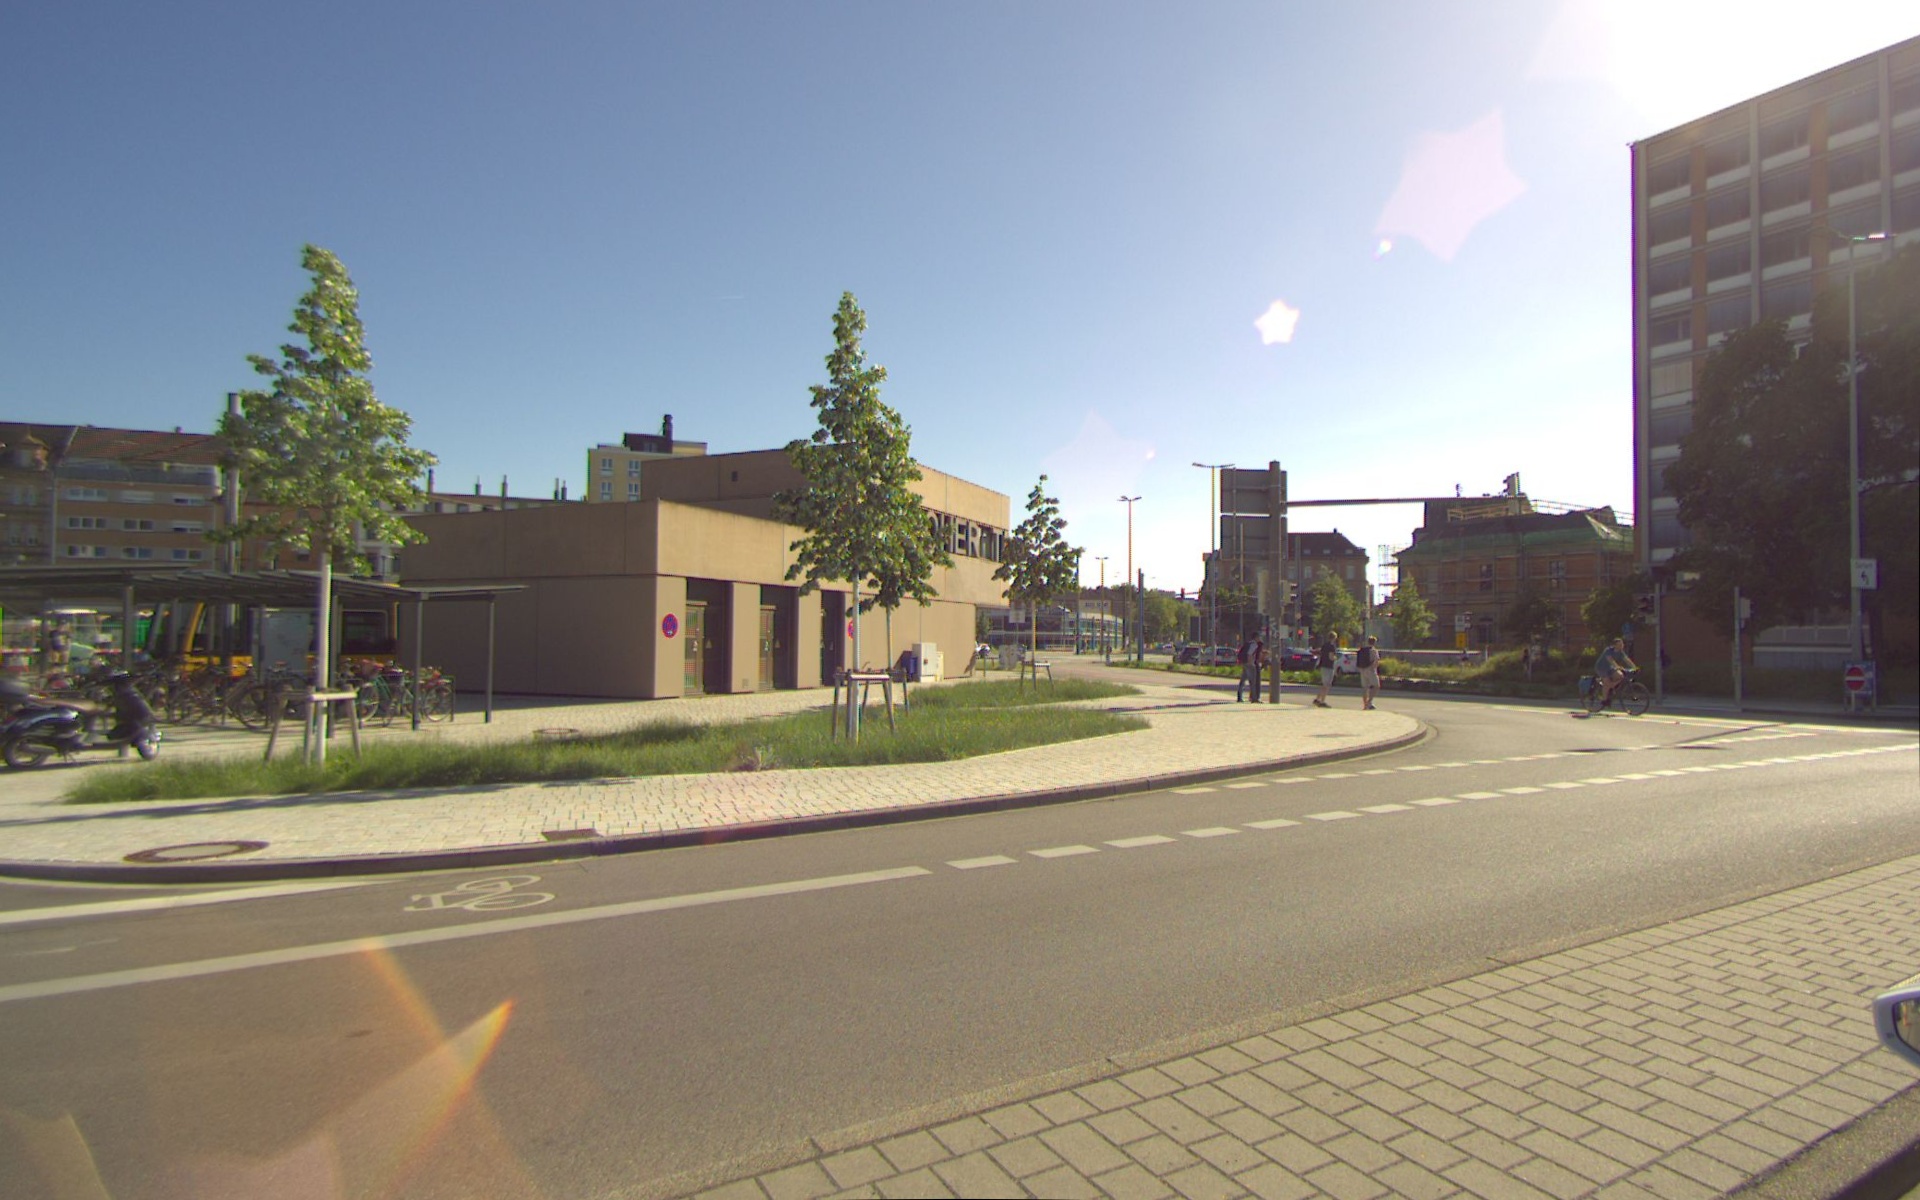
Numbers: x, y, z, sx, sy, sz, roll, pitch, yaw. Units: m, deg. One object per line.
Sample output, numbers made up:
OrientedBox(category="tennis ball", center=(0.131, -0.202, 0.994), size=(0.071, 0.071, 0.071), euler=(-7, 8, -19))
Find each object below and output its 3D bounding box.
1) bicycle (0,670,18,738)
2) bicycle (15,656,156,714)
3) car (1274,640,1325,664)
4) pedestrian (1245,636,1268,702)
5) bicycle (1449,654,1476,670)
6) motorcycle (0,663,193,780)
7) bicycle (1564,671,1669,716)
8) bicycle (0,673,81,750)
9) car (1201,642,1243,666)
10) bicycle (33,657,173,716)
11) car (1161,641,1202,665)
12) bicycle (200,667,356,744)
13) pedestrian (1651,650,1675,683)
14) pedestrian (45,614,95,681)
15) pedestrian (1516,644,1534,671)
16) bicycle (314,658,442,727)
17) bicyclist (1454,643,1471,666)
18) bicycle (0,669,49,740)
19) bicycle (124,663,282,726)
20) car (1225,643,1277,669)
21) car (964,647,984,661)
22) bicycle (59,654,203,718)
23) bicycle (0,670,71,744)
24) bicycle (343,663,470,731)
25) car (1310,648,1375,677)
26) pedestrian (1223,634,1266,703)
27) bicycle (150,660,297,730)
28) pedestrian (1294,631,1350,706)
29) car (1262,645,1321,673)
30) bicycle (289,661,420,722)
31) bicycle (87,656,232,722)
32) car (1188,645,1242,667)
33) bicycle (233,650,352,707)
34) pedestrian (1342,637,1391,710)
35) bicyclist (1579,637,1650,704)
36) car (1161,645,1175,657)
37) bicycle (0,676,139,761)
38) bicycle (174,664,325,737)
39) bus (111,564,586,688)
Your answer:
OrientedBox(category="bicycle", center=(-14.706, 1.544, 14.426), size=(0.399, 0.985, 1.683), euler=(2, 0, 22))
OrientedBox(category="bicycle", center=(-17.760, 1.700, 20.457), size=(0.524, 1.051, 2.070), euler=(5, 0, 26))
OrientedBox(category="car", center=(25.596, 3.885, 75.910), size=(1.809, 1.653, 4.836), euler=(1, -2, -6))
OrientedBox(category="pedestrian", center=(7.986, 1.853, 27.055), size=(0.585, 1.751, 0.580), euler=(0, -2, 14))
OrientedBox(category="bicycle", center=(32.328, 3.981, 64.593), size=(0.587, 0.976, 2.082), euler=(1, -2, -3))
OrientedBox(category="motorcycle", center=(-10.837, 1.450, 12.477), size=(0.558, 1.235, 2.087), euler=(0, -1, 21))
OrientedBox(category="bicycle", center=(14.478, 2.039, 22.232), size=(0.676, 0.930, 1.985), euler=(1, -4, -15))
OrientedBox(category="bicycle", center=(-13.218, 1.546, 13.813), size=(0.399, 0.985, 1.683), euler=(2, 0, 22))
OrientedBox(category="car", center=(19.631, 4.039, 75.505), size=(1.809, 1.653, 4.386), euler=(1, -2, -4))
OrientedBox(category="bicycle", center=(-16.871, 1.680, 19.849), size=(0.524, 1.051, 2.070), euler=(-2, -2, 26))
OrientedBox(category="car", center=(16.534, 3.943, 75.125), size=(1.809, 1.653, 4.386), euler=(1, -2, -4))
OrientedBox(category="bicycle", center=(-10.891, 1.653, 16.134), size=(0.524, 1.051, 2.070), euler=(2, 0, 26))
OrientedBox(category="pedestrian", center=(34.909, 3.307, 49.885), size=(0.587, 1.624, 0.739), euler=(1, -2, -7))
OrientedBox(category="pedestrian", center=(-26.034, 1.378, 29.396), size=(0.755, 1.942, 0.803), euler=(0, -2, 23))
OrientedBox(category="pedestrian", center=(33.697, 3.398, 59.904), size=(0.549, 1.592, 0.862), euler=(1, -2, -6))
OrientedBox(category="bicycle", center=(-10.785, 1.686, 18.700), size=(0.594, 1.093, 2.053), euler=(2, 0, 25))
OrientedBox(category="bicyclist", center=(32.328, 3.526, 64.604), size=(0.587, 1.448, 0.939), euler=(1, -2, -4))
OrientedBox(category="bicycle", center=(-14.188, 1.528, 14.376), size=(0.399, 0.985, 1.683), euler=(2, 0, 22))
OrientedBox(category="bicycle", center=(-13.697, 1.680, 18.262), size=(0.673, 0.956, 2.233), euler=(2, 0, 25))
OrientedBox(category="car", center=(20.052, 3.844, 69.433), size=(1.810, 1.653, 4.382), euler=(1, -2, -8))
OrientedBox(category="car", center=(1.669, 6.431, 119.668), size=(1.757, 1.540, 4.003), euler=(0, -2, 11))
OrientedBox(category="bicycle", center=(-15.890, 1.626, 19.321), size=(0.524, 1.051, 2.070), euler=(5, 1, 26))
OrientedBox(category="bicycle", center=(-13.684, 1.534, 14.175), size=(0.399, 0.985, 1.683), euler=(2, 0, 22))
OrientedBox(category="bicycle", center=(-9.955, 1.724, 18.162), size=(0.524, 1.051, 2.070), euler=(2, 0, 26))
OrientedBox(category="car", center=(21.271, 3.452, 56.016), size=(1.711, 1.454, 3.843), euler=(1, -2, -10))
OrientedBox(category="pedestrian", center=(7.234, 1.734, 25.480), size=(0.888, 1.711, 0.839), euler=(-1, -5, 28))
OrientedBox(category="bicycle", center=(-12.886, 1.632, 17.657), size=(0.524, 1.051, 2.070), euler=(2, 0, 26))
OrientedBox(category="pedestrian", center=(8.969, 1.707, 24.907), size=(1.085, 1.822, 0.703), euler=(2, -5, -16))
OrientedBox(category="car", center=(20.715, 3.679, 62.901), size=(1.810, 1.653, 4.382), euler=(1, -2, -8))
OrientedBox(category="bicycle", center=(-11.750, 1.752, 19.573), size=(0.679, 1.011, 2.140), euler=(2, 0, 26))
OrientedBox(category="bicycle", center=(-15.005, 1.643, 18.906), size=(0.524, 1.051, 2.070), euler=(5, 1, 26))
OrientedBox(category="car", center=(17.281, 3.768, 68.326), size=(1.810, 1.406, 4.895), euler=(1, -2, -8))
OrientedBox(category="bicycle", center=(-13.905, 1.618, 20.993), size=(0.524, 1.051, 2.070), euler=(2, 0, 26))
OrientedBox(category="pedestrian", center=(9.859, 1.781, 24.365), size=(0.777, 1.711, 0.791), euler=(3, -5, -21))
OrientedBox(category="bicyclist", center=(14.486, 1.564, 22.261), size=(0.676, 1.440, 1.124), euler=(1, -4, -16))
OrientedBox(category="car", center=(29.616, 7.302, 142.913), size=(1.959, 1.639, 4.003), euler=(0, -2, 12))
OrientedBox(category="bicycle", center=(-12.190, 1.576, 13.579), size=(0.399, 0.985, 1.683), euler=(2, 0, 22))
OrientedBox(category="bicycle", center=(-11.915, 1.658, 16.935), size=(0.524, 1.051, 2.070), euler=(2, 0, 26))
OrientedBox(category="bus", center=(-18.136, 0.897, 31.977), size=(2.810, 3.112, 13.620), euler=(0, -2, 25))
